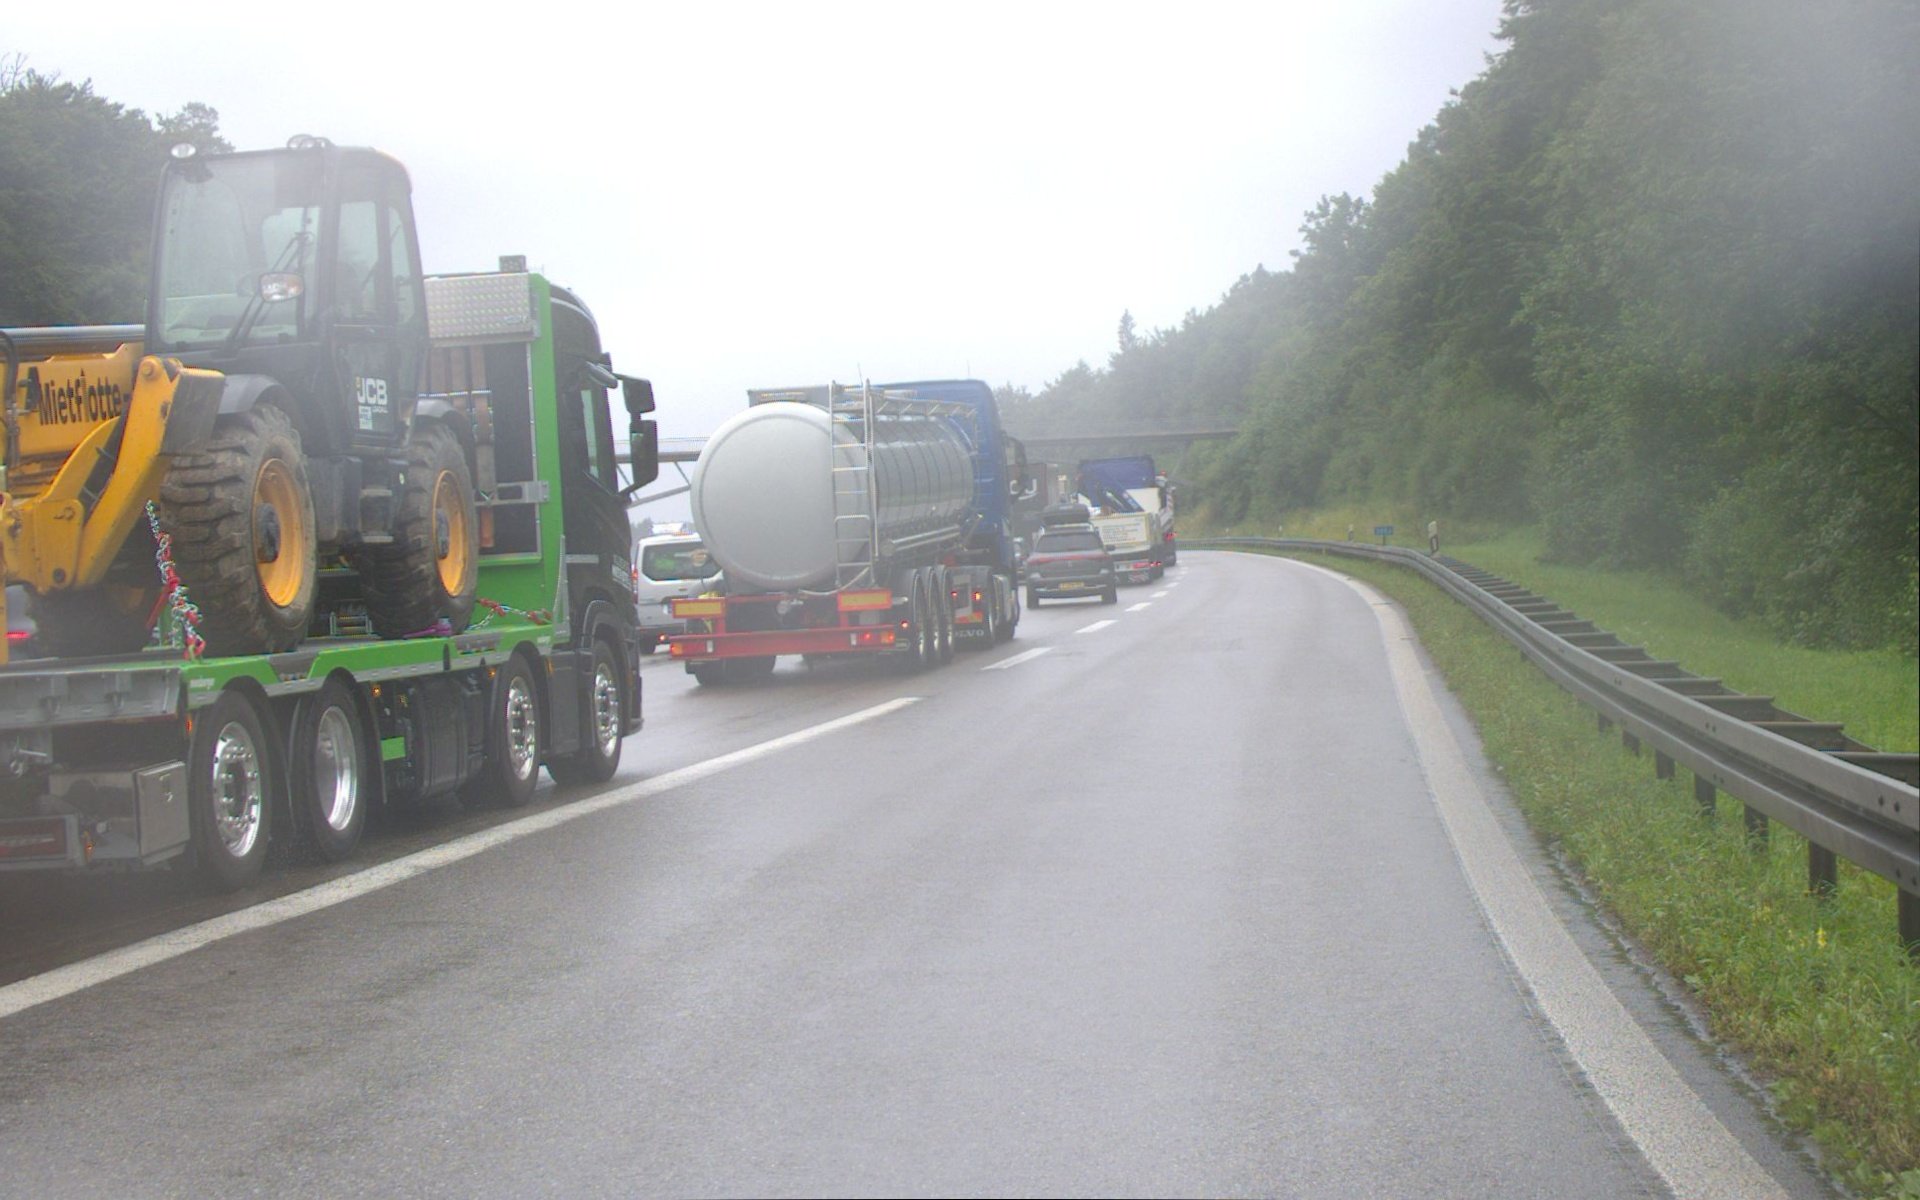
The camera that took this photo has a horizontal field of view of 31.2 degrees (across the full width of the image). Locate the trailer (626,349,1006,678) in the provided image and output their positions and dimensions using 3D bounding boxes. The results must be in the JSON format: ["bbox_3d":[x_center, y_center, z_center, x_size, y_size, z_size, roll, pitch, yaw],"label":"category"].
[{"bbox_3d":[-1.438,-1.016,40.805,2.874,3.277,10.076,-3,1,6],"label":"trailer"}]

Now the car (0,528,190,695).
[{"bbox_3d":[-9.848,0.108,35.741,1.994,1.588,4.807,-3,1,8],"label":"car"}]

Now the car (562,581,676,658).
[{"bbox_3d":[-8.391,0.453,84.915,1.994,1.766,4.134,-2,0,5],"label":"car"}]

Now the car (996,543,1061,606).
[{"bbox_3d":[2.143,-0.773,106.647,1.798,1.897,3.999,0,0,4],"label":"car"}]

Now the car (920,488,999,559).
[{"bbox_3d":[0.006,-2.095,95.205,1.797,1.831,3.999,1,0,6],"label":"car"}]

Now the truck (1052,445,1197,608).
[{"bbox_3d":[4.706,-2.063,96.243,3.600,4.091,11.559,-3,1,4],"label":"truck"}]

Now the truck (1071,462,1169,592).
[{"bbox_3d":[7.505,-3.310,159.601,4.336,5.744,9.729,1,0,3],"label":"truck"}]

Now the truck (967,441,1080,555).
[{"bbox_3d":[2.663,-4.030,139.415,3.577,4.081,10.877,-2,-1,6],"label":"truck"}]

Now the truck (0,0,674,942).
[{"bbox_3d":[-4.226,-0.577,17.613,2.832,3.576,11.794,-3,1,8],"label":"truck"}]

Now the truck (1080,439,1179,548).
[{"bbox_3d":[6.847,-4.210,138.422,3.755,3.957,11.058,1,0,3],"label":"truck"}]

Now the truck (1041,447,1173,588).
[{"bbox_3d":[4.890,-2.580,112.185,3.508,4.253,10.600,1,0,7],"label":"truck"}]

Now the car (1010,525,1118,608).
[{"bbox_3d":[2.190,-0.662,71.215,1.994,1.630,3.999,1,0,5],"label":"car"}]

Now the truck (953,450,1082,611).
[{"bbox_3d":[2.162,-2.397,124.009,3.755,5.480,10.170,1,0,6],"label":"truck"}]

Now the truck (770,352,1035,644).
[{"bbox_3d":[-0.705,-1.395,47.641,2.877,3.681,5.055,-3,1,7],"label":"truck"}]

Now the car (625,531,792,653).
[{"bbox_3d":[-3.835,-0.149,53.050,1.820,1.761,3.999,-2,1,6],"label":"car"}]
